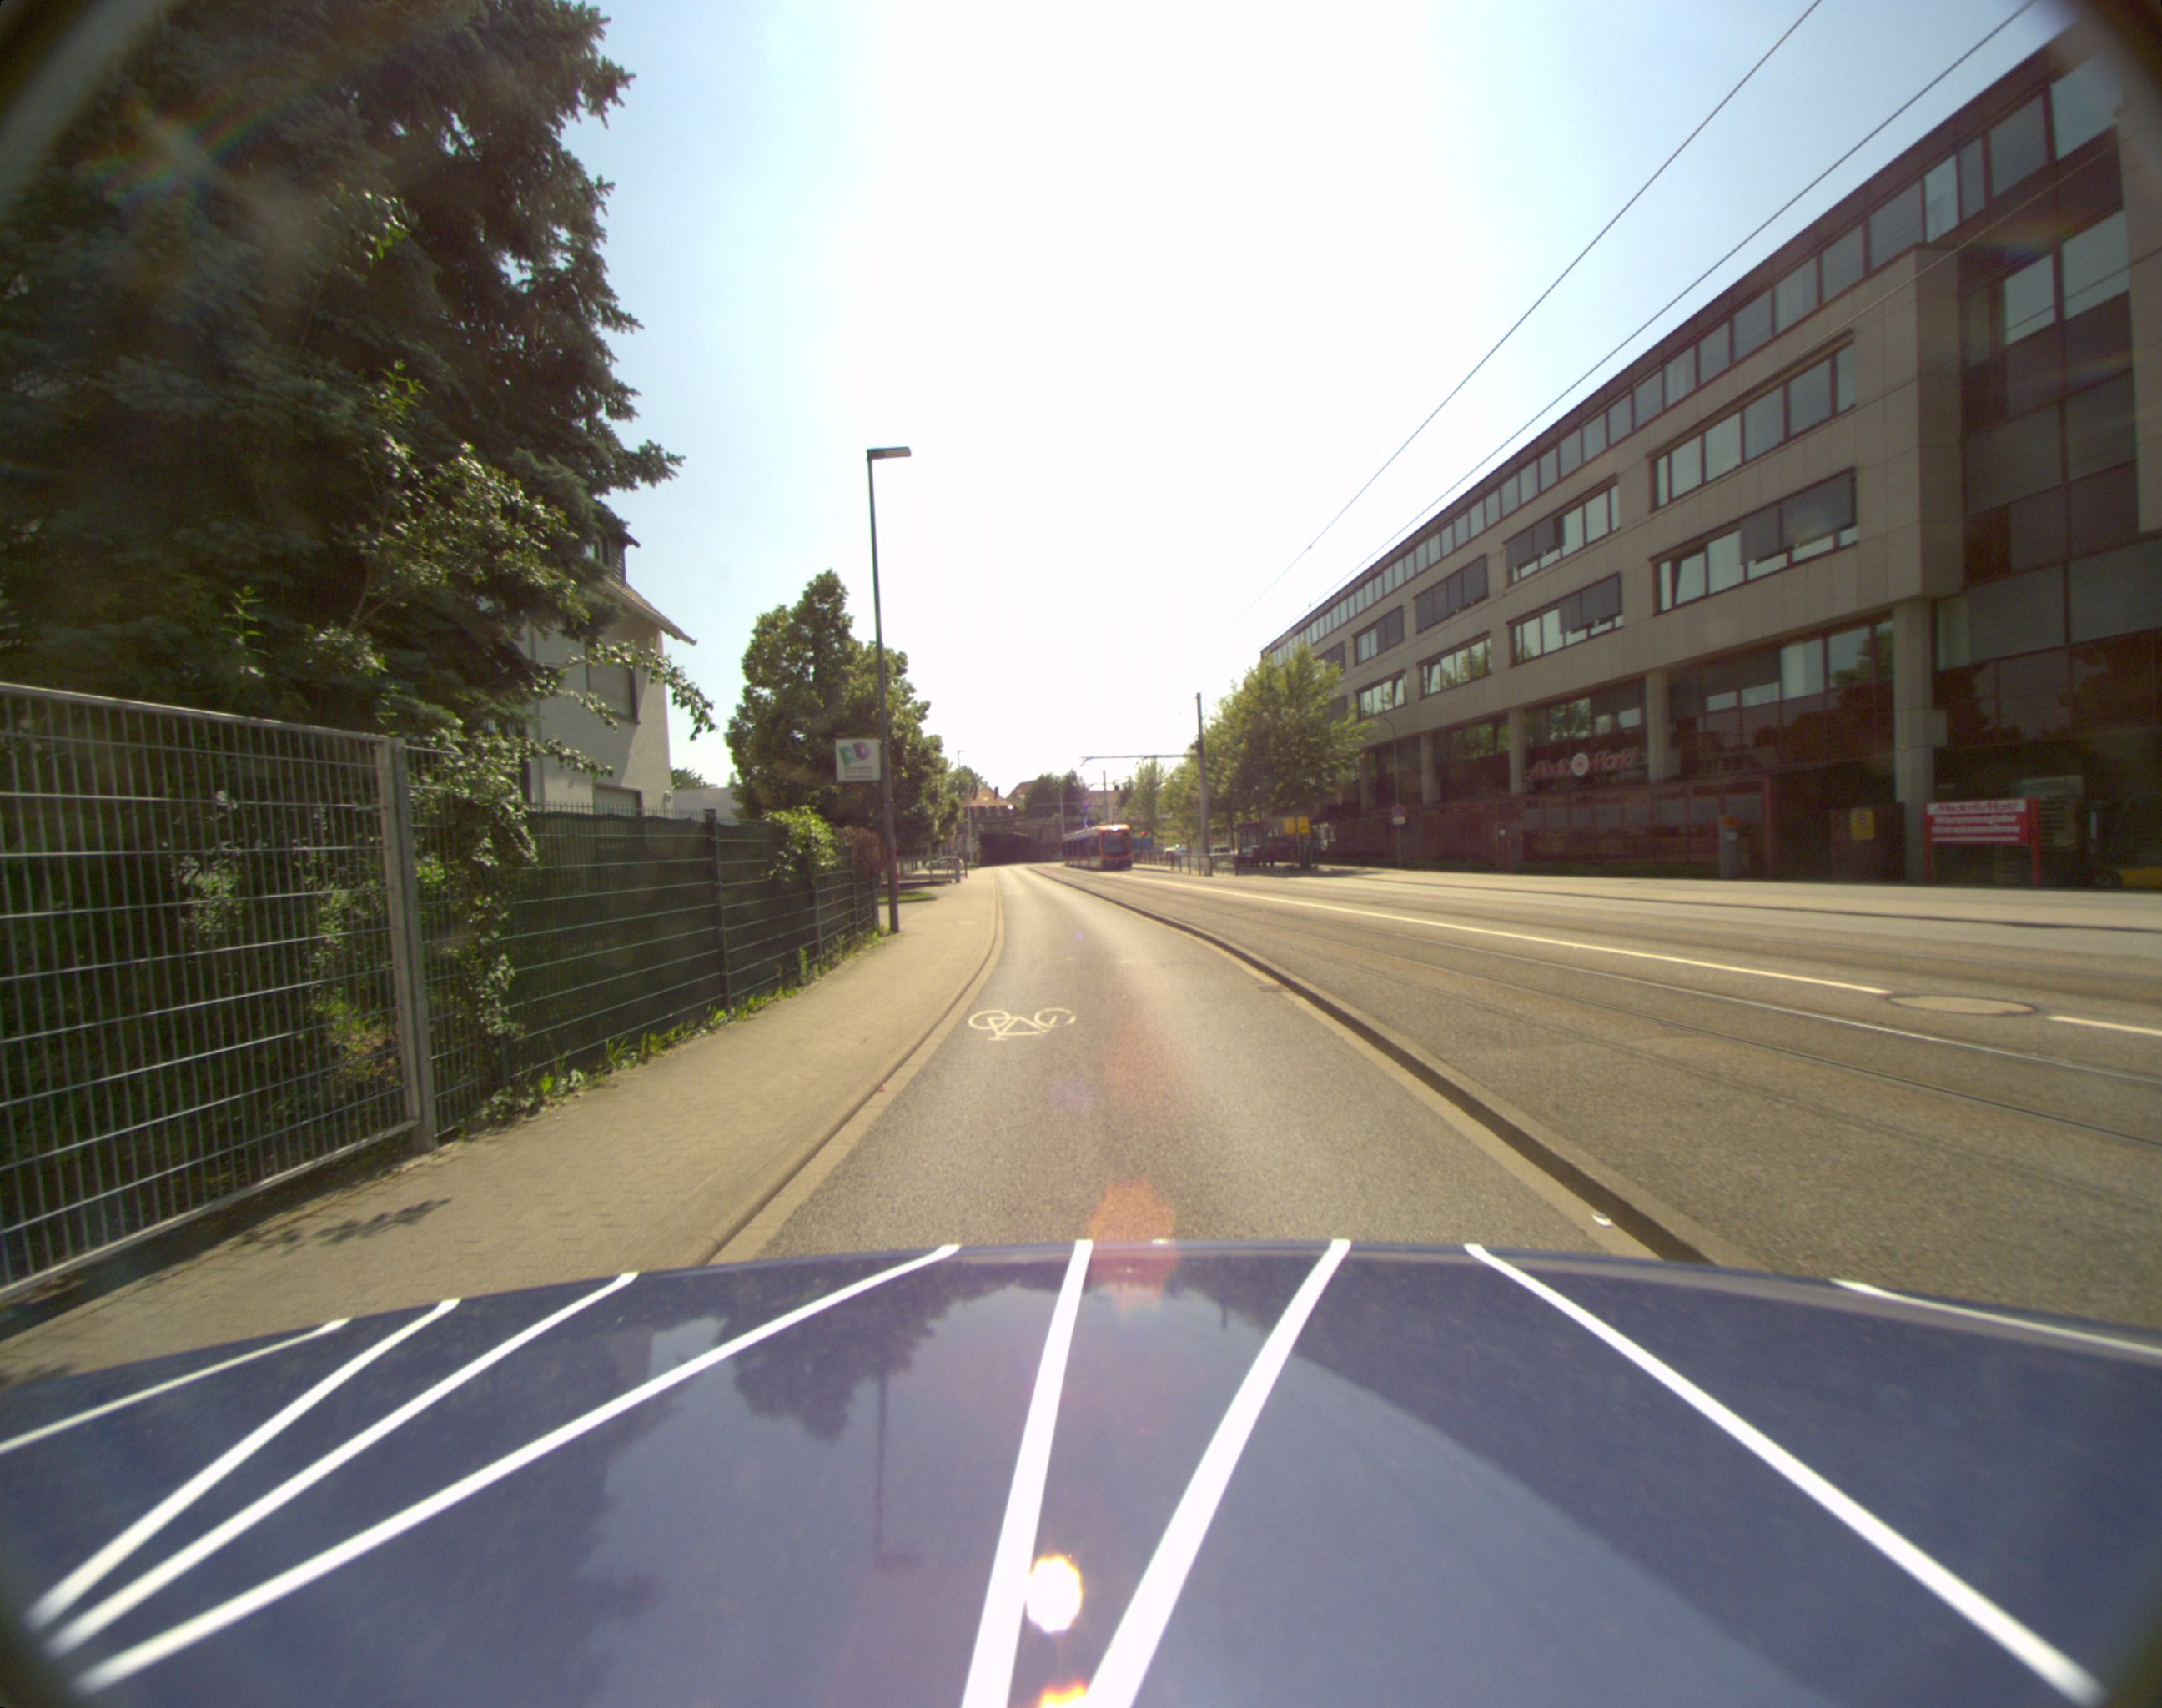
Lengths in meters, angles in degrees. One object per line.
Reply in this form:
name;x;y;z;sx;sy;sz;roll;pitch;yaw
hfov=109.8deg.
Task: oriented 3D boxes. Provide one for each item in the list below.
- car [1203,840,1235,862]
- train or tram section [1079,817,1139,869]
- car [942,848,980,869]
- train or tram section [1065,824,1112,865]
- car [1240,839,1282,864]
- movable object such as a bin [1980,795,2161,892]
car;10.856;-0.223;59.998;1.871;1.608;4.000;-2;0;1
train or tram section;1.963;-0.787;58.909;2.682;3.464;12.320;-2;0;-7
car;-13.325;0.472;84.286;4.000;2.089;1.998;-2;1;-10
train or tram section;0.489;-0.818;71.565;2.682;3.464;13.381;-2;0;-7
car;12.386;-0.188;52.610;1.998;1.613;4.000;-2;0;1
movable object such as a bin;22.743;-0.241;16.906;1.749;2.002;3.173;-3;1;-26
